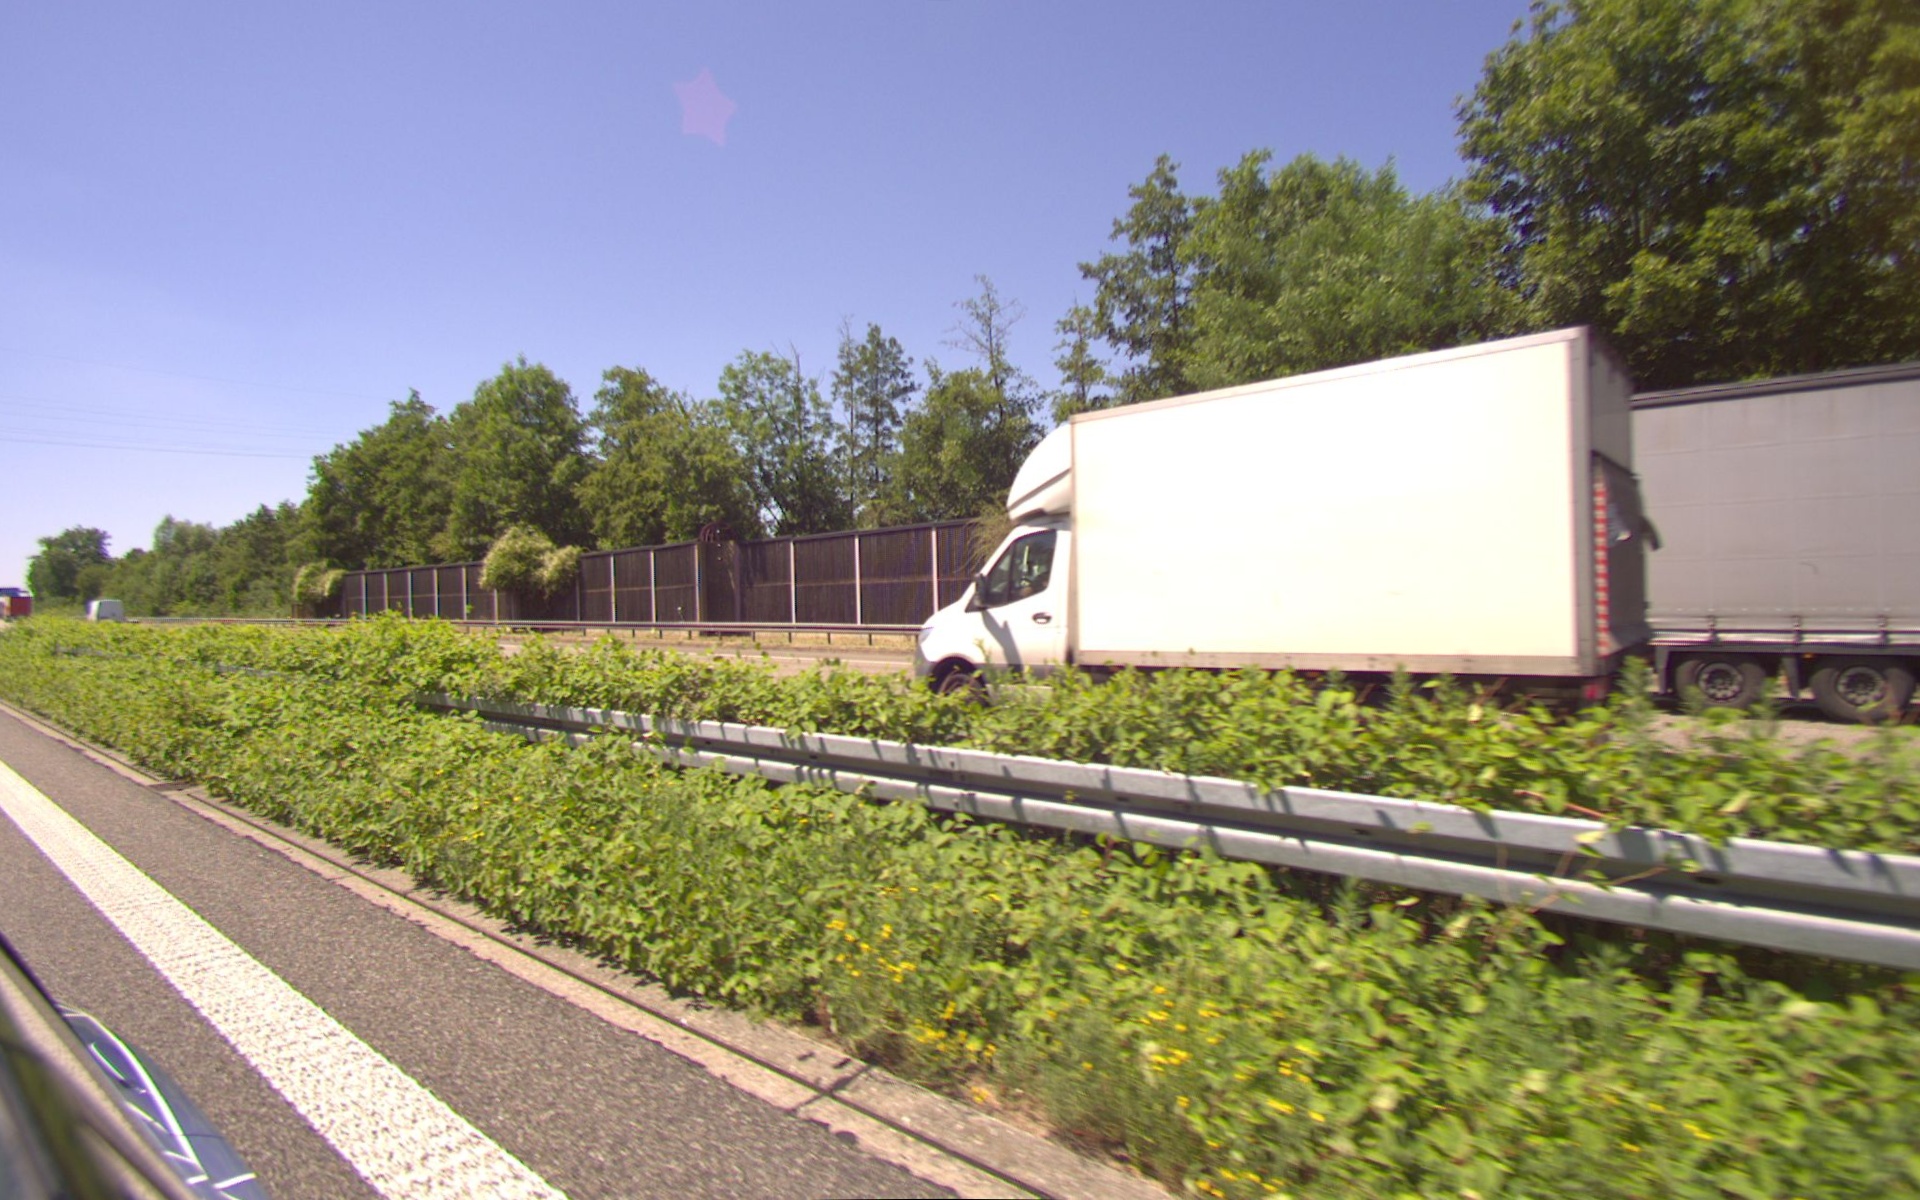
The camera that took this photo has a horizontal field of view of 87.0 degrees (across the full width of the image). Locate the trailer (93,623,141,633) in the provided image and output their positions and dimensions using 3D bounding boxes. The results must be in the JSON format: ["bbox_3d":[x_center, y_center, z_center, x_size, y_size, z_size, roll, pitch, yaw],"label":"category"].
[{"bbox_3d":[-72.564,2.379,87.084,6.277,0.813,2.139,-1,-1,40],"label":"trailer"}]

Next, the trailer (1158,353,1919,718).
[{"bbox_3d":[9.419,-0.661,13.546,13.753,3.939,2.701,-1,-1,41],"label":"trailer"}]

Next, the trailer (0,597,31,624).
[{"bbox_3d":[-150.697,1.775,161.436,14.051,4.098,2.654,-1,-1,43],"label":"trailer"}]

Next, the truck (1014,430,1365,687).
[{"bbox_3d":[4.001,-0.598,18.286,5.569,3.924,2.659,-1,-1,40],"label":"truck"}]

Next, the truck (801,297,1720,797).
[{"bbox_3d":[2.057,-0.271,9.973,8.529,3.138,2.171,-1,-1,41],"label":"truck"}]

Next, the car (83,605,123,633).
[{"bbox_3d":[-77.022,1.673,90.882,5.411,2.449,2.002,-1,-1,42],"label":"car"}]
